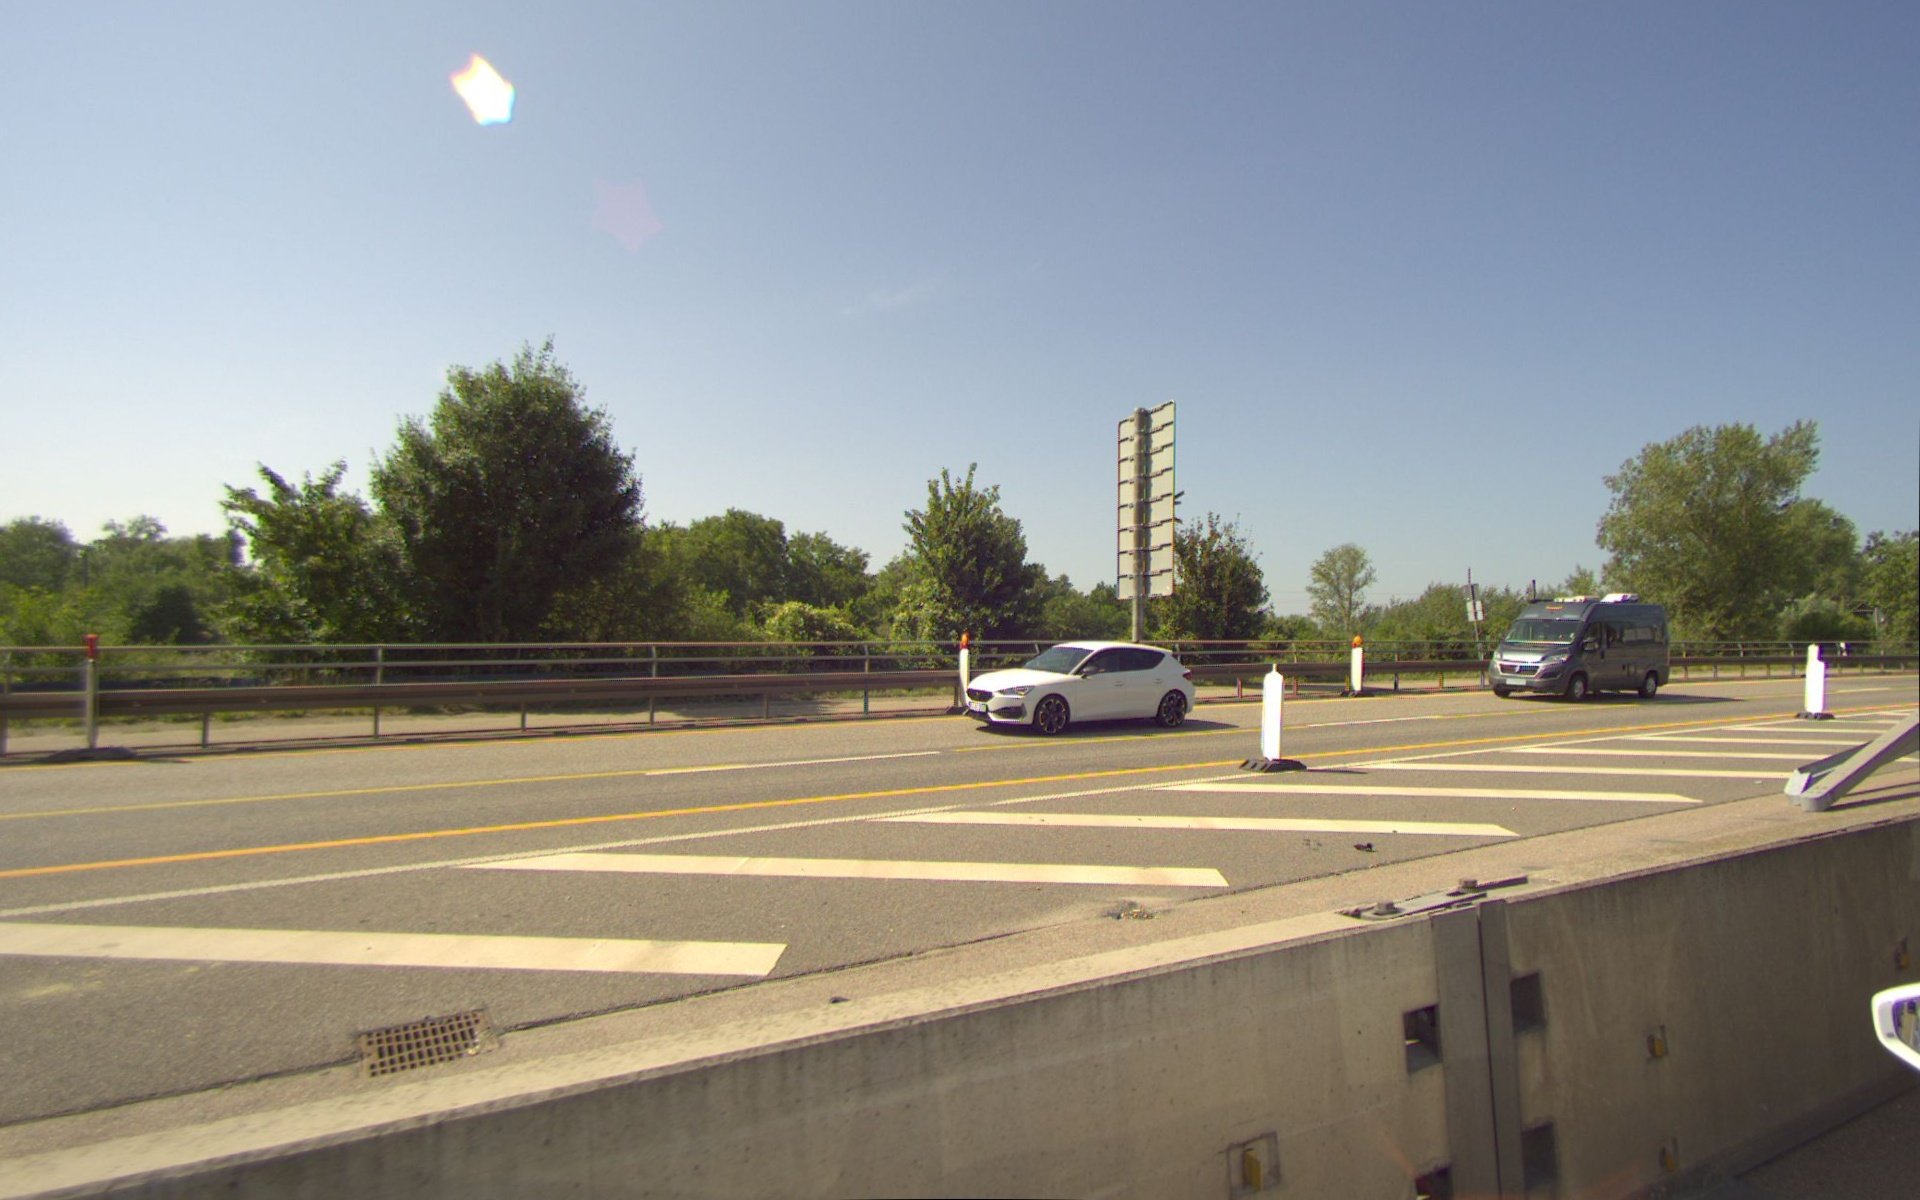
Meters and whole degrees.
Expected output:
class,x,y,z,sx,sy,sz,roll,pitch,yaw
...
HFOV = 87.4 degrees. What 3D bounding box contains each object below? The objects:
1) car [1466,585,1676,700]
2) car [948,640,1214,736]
class,x,y,z,sx,sy,sz,roll,pitch,yaw
car,15.695,1.072,25.732,5.477,2.695,2.137,1,-2,-29
car,2.138,1.414,17.257,4.468,1.415,1.710,1,-1,-31
